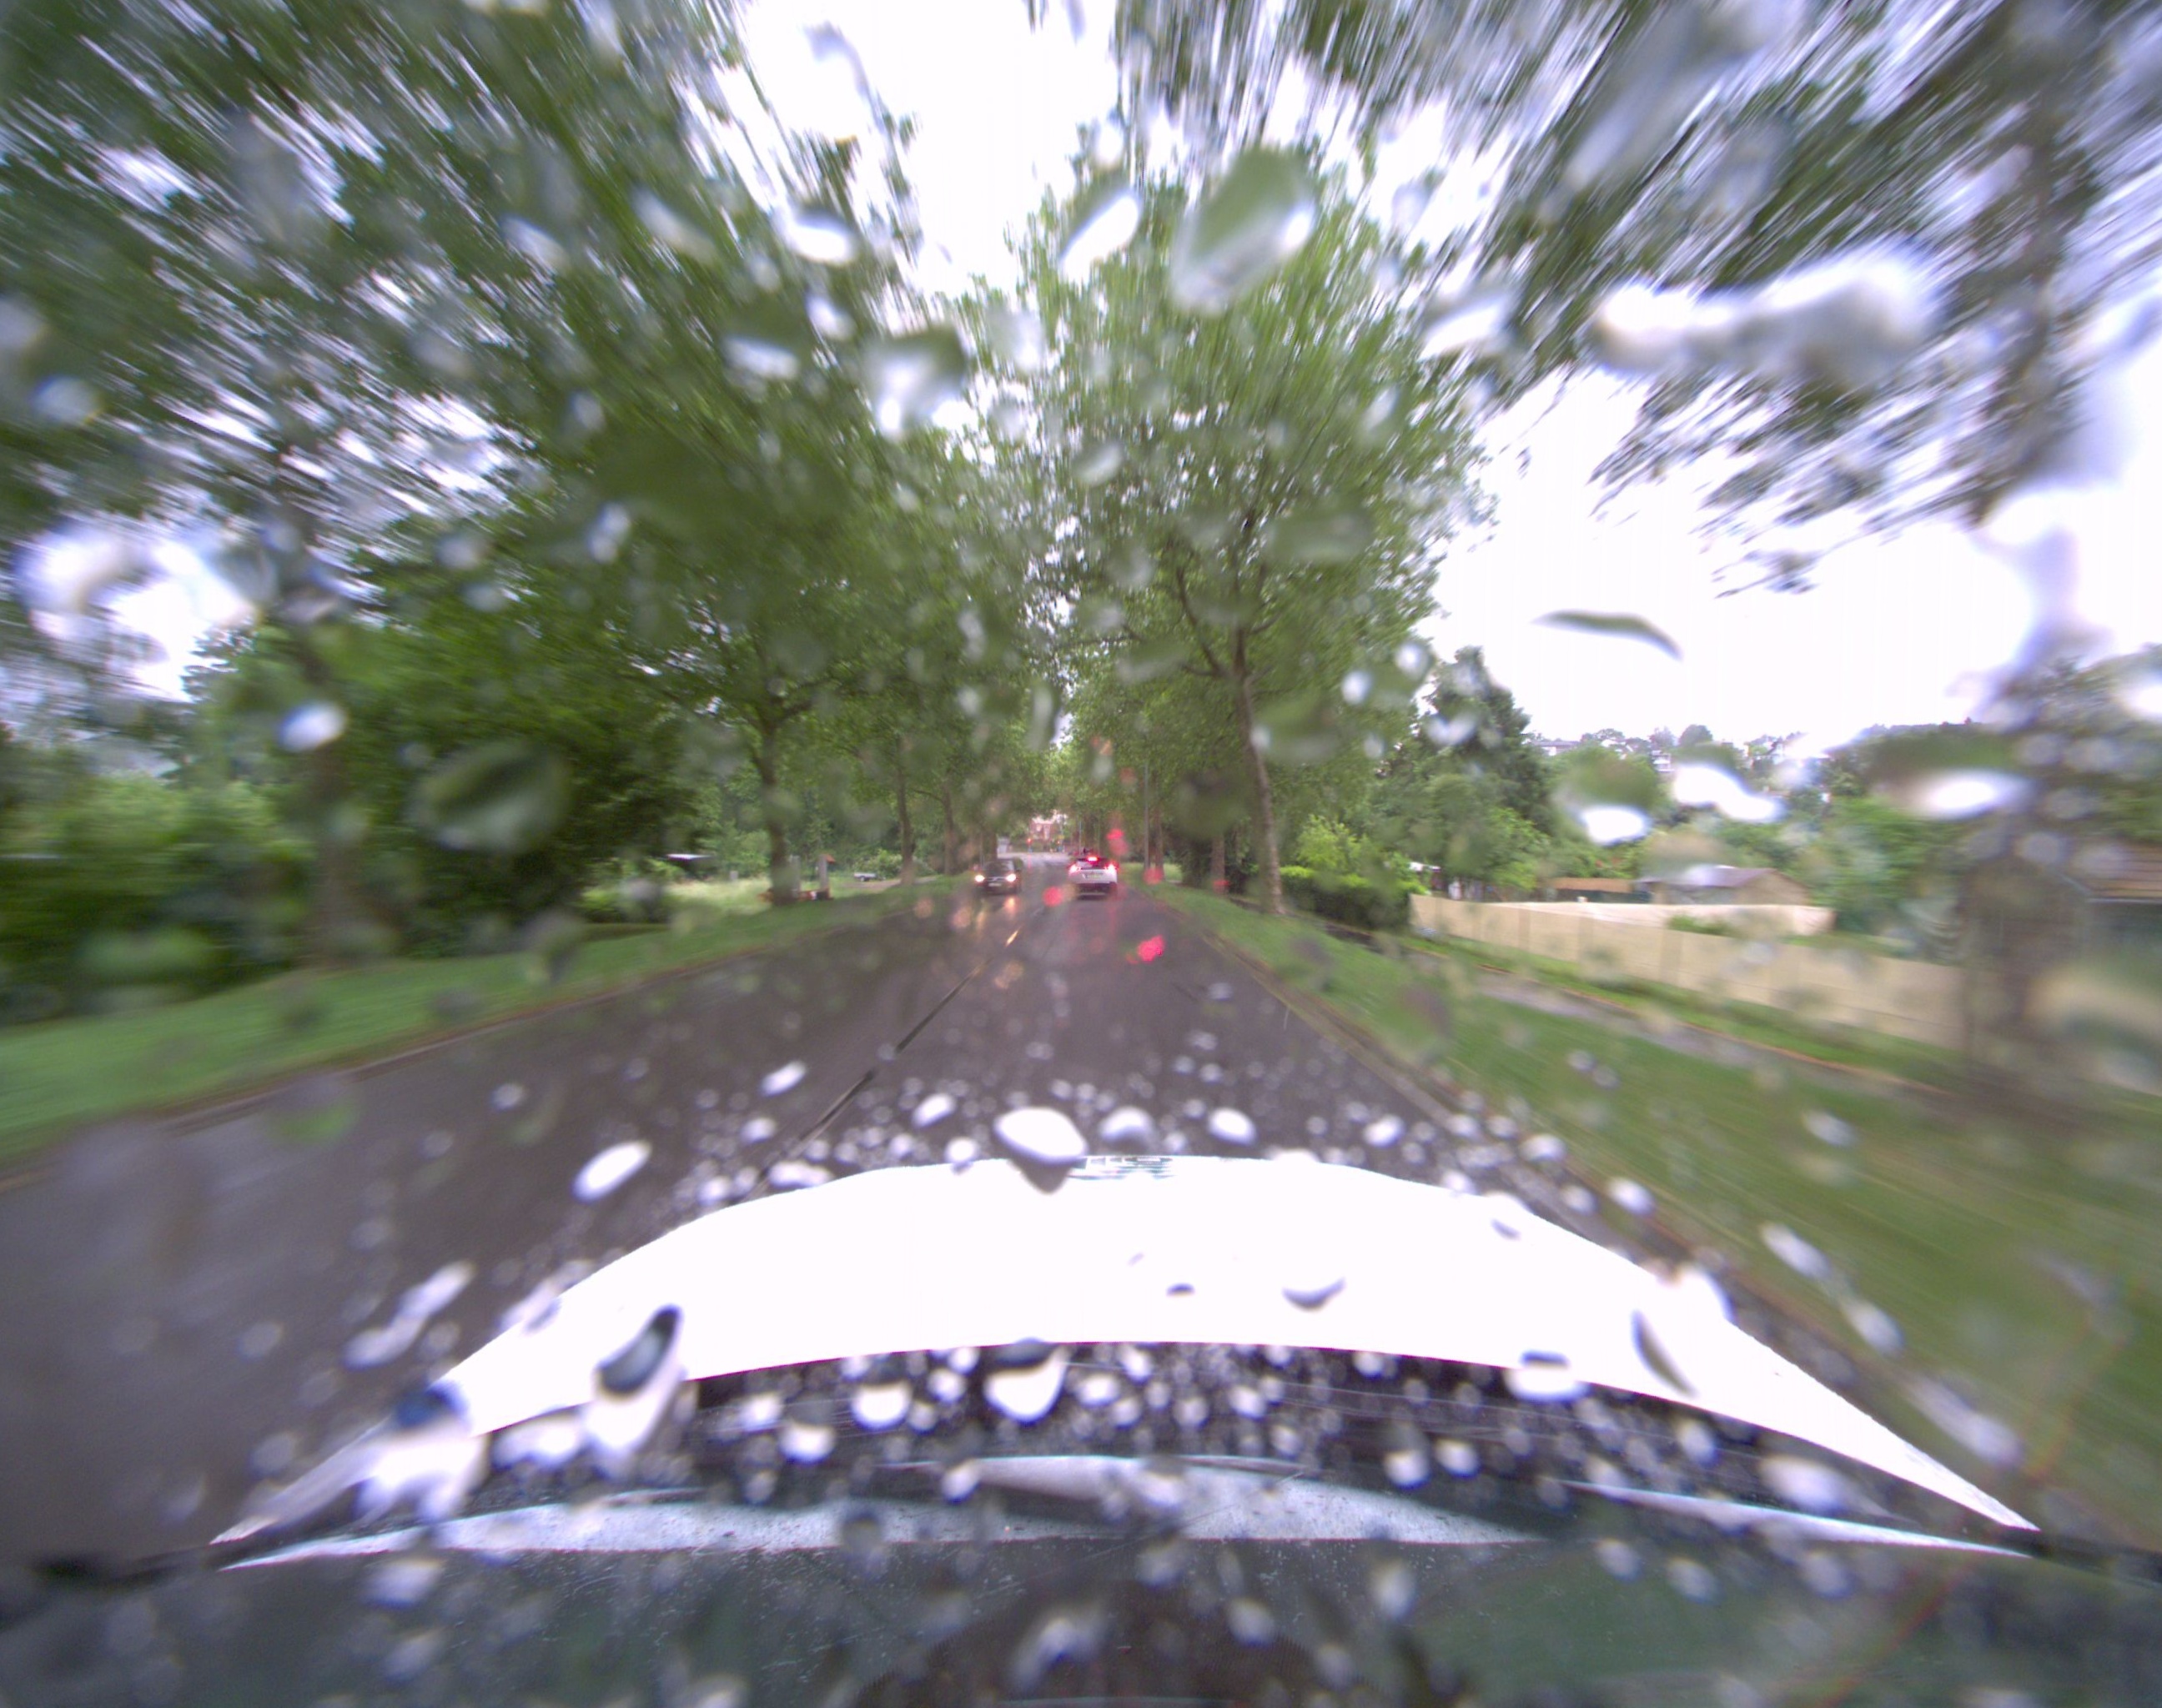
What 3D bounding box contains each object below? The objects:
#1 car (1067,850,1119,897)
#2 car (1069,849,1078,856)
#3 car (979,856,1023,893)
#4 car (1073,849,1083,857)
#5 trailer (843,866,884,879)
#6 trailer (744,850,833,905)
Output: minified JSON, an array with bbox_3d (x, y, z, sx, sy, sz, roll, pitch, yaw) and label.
[{"bbox_3d":[0.511,0.668,30.123,1.786,1.578,3.847,0,0,2],"label":"car"},{"bbox_3d":[-1.581,-0.329,177.079,1.820,1.596,3.656,0,0,2],"label":"car"},{"bbox_3d":[-3.363,0.847,34.699,1.703,1.486,3.876,0,0,-4],"label":"car"},{"bbox_3d":[-0.598,-0.209,167.393,1.820,1.596,3.656,0,0,2],"label":"car"},{"bbox_3d":[-20.443,1.728,76.670,3.550,1.178,1.818,-1,0,-8],"label":"trailer"},{"bbox_3d":[-14.483,1.078,40.681,2.477,2.567,5.332,0,0,0],"label":"trailer"}]
